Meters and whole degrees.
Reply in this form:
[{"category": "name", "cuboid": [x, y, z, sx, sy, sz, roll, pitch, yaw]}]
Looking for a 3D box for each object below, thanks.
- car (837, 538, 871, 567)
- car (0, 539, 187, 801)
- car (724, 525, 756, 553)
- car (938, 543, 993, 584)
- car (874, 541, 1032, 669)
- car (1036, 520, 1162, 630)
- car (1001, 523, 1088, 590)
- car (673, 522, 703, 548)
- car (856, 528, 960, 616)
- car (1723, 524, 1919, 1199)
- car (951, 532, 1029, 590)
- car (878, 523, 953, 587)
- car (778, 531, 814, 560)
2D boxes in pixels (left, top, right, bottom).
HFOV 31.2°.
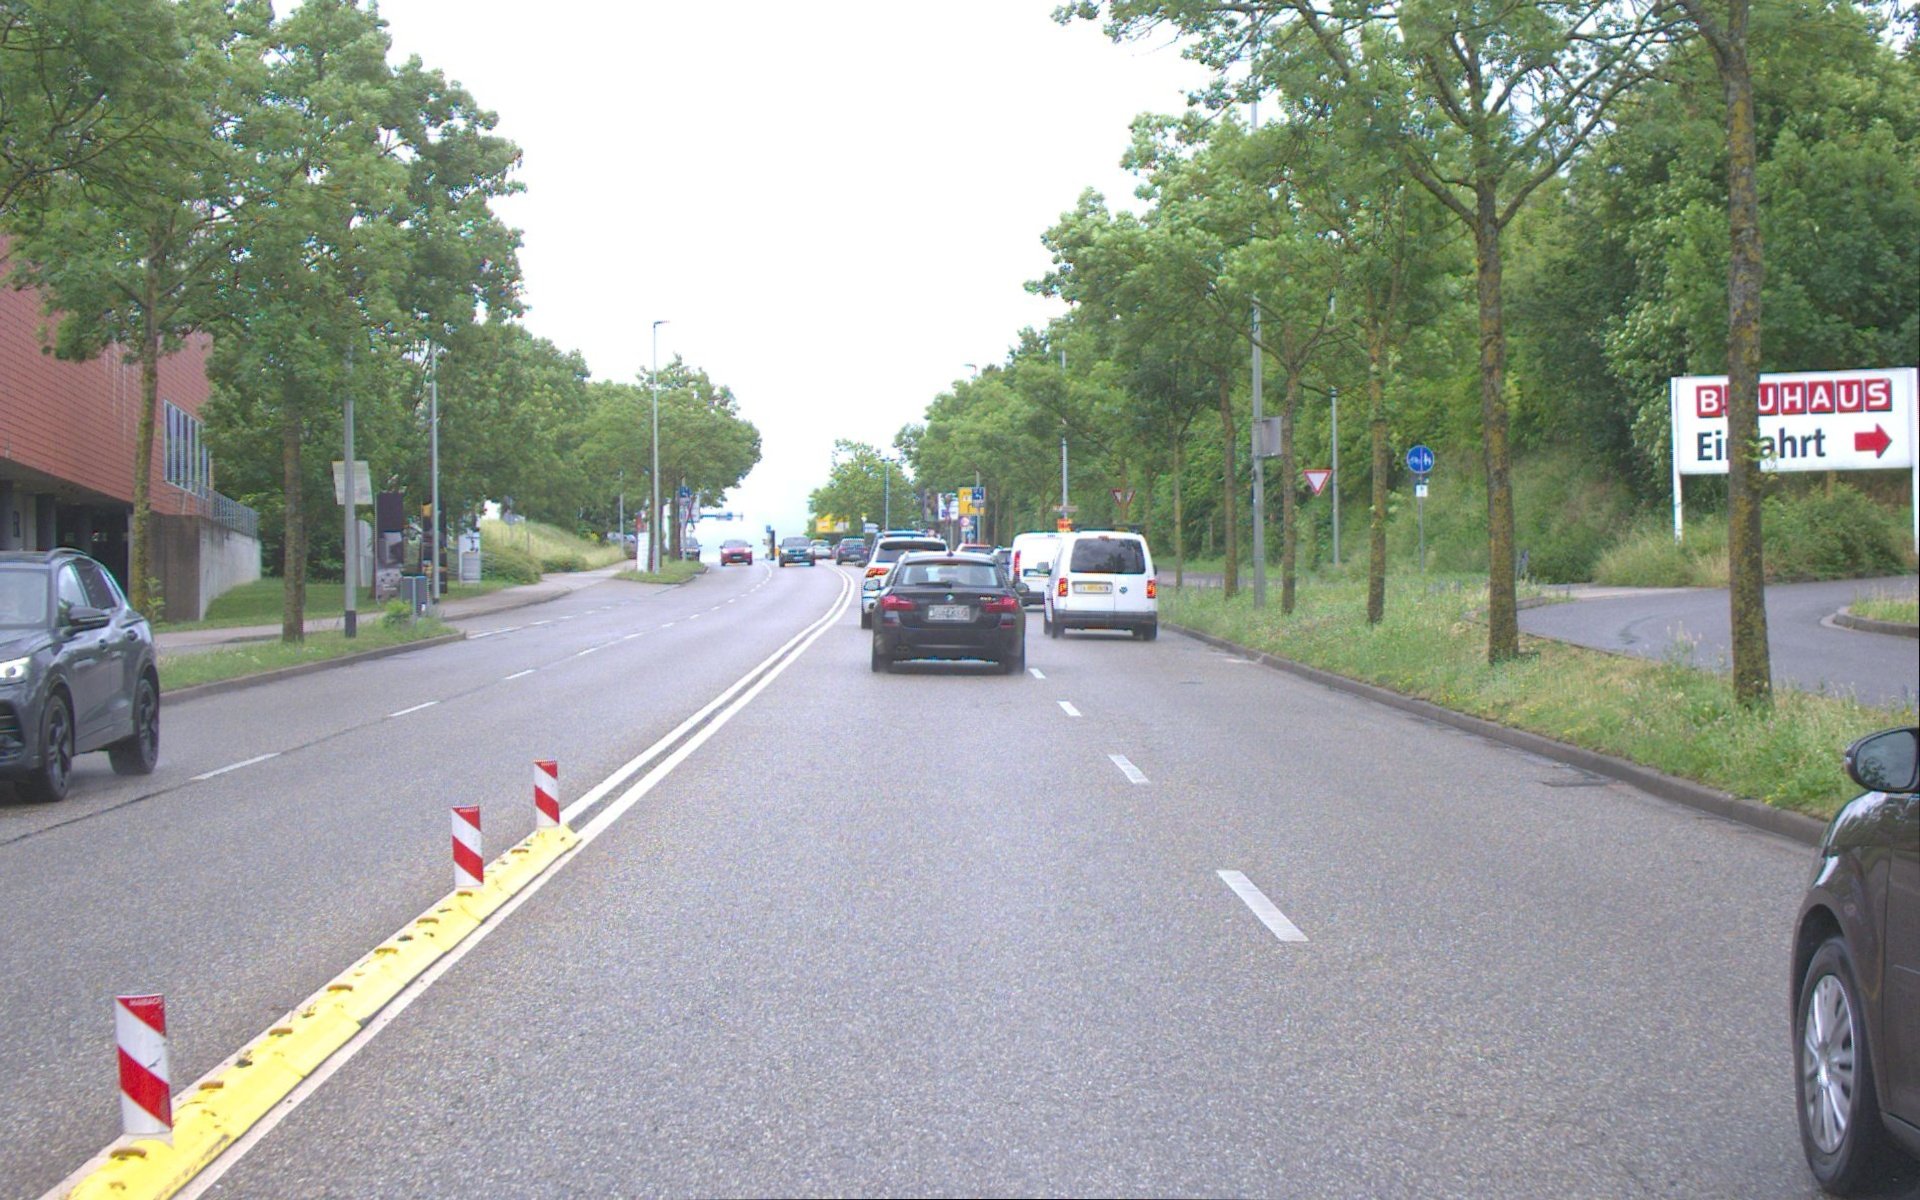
[{"category": "car", "cuboid": [-5.793, -2.565, 187.422, 1.794, 1.505, 4.000, 1, 0, -3]}, {"category": "car", "cuboid": [-6.667, 0.442, 23.380, 1.787, 1.608, 4.437, -3, 1, 0]}, {"category": "car", "cuboid": [-12.787, -3.550, 199.861, 1.794, 1.505, 4.001, 1, 0, -4]}, {"category": "car", "cuboid": [0.194, -1.390, 131.369, 1.794, 1.505, 4.001, 1, 0, -4]}, {"category": "car", "cuboid": [-0.090, 0.024, 42.338, 1.827, 1.463, 4.000, -1, 1, 0]}, {"category": "car", "cuboid": [2.309, -0.453, 58.004, 1.827, 1.753, 4.000, 1, 1, -2]}, {"category": "car", "cuboid": [1.966, -1.019, 81.135, 1.794, 1.505, 4.000, 1, 0, -2]}, {"category": "car", "cuboid": [-16.936, -4.047, 214.261, 1.794, 1.505, 4.001, 1, 0, -4]}, {"category": "car", "cuboid": [-0.977, -0.504, 62.793, 1.794, 1.505, 4.000, 1, 0, -2]}, {"category": "car", "cuboid": [2.863, 0.647, 6.632, 1.685, 1.575, 4.219, 1, 1, -2]}, {"category": "car", "cuboid": [0.790, -1.065, 94.189, 1.794, 1.505, 4.001, 1, 0, -4]}, {"category": "car", "cuboid": [-1.110, -1.099, 85.051, 1.794, 1.505, 4.000, 1, 0, -1]}, {"category": "car", "cuboid": [-8.874, -2.952, 185.842, 1.794, 1.505, 4.001, 1, 0, -4]}]
